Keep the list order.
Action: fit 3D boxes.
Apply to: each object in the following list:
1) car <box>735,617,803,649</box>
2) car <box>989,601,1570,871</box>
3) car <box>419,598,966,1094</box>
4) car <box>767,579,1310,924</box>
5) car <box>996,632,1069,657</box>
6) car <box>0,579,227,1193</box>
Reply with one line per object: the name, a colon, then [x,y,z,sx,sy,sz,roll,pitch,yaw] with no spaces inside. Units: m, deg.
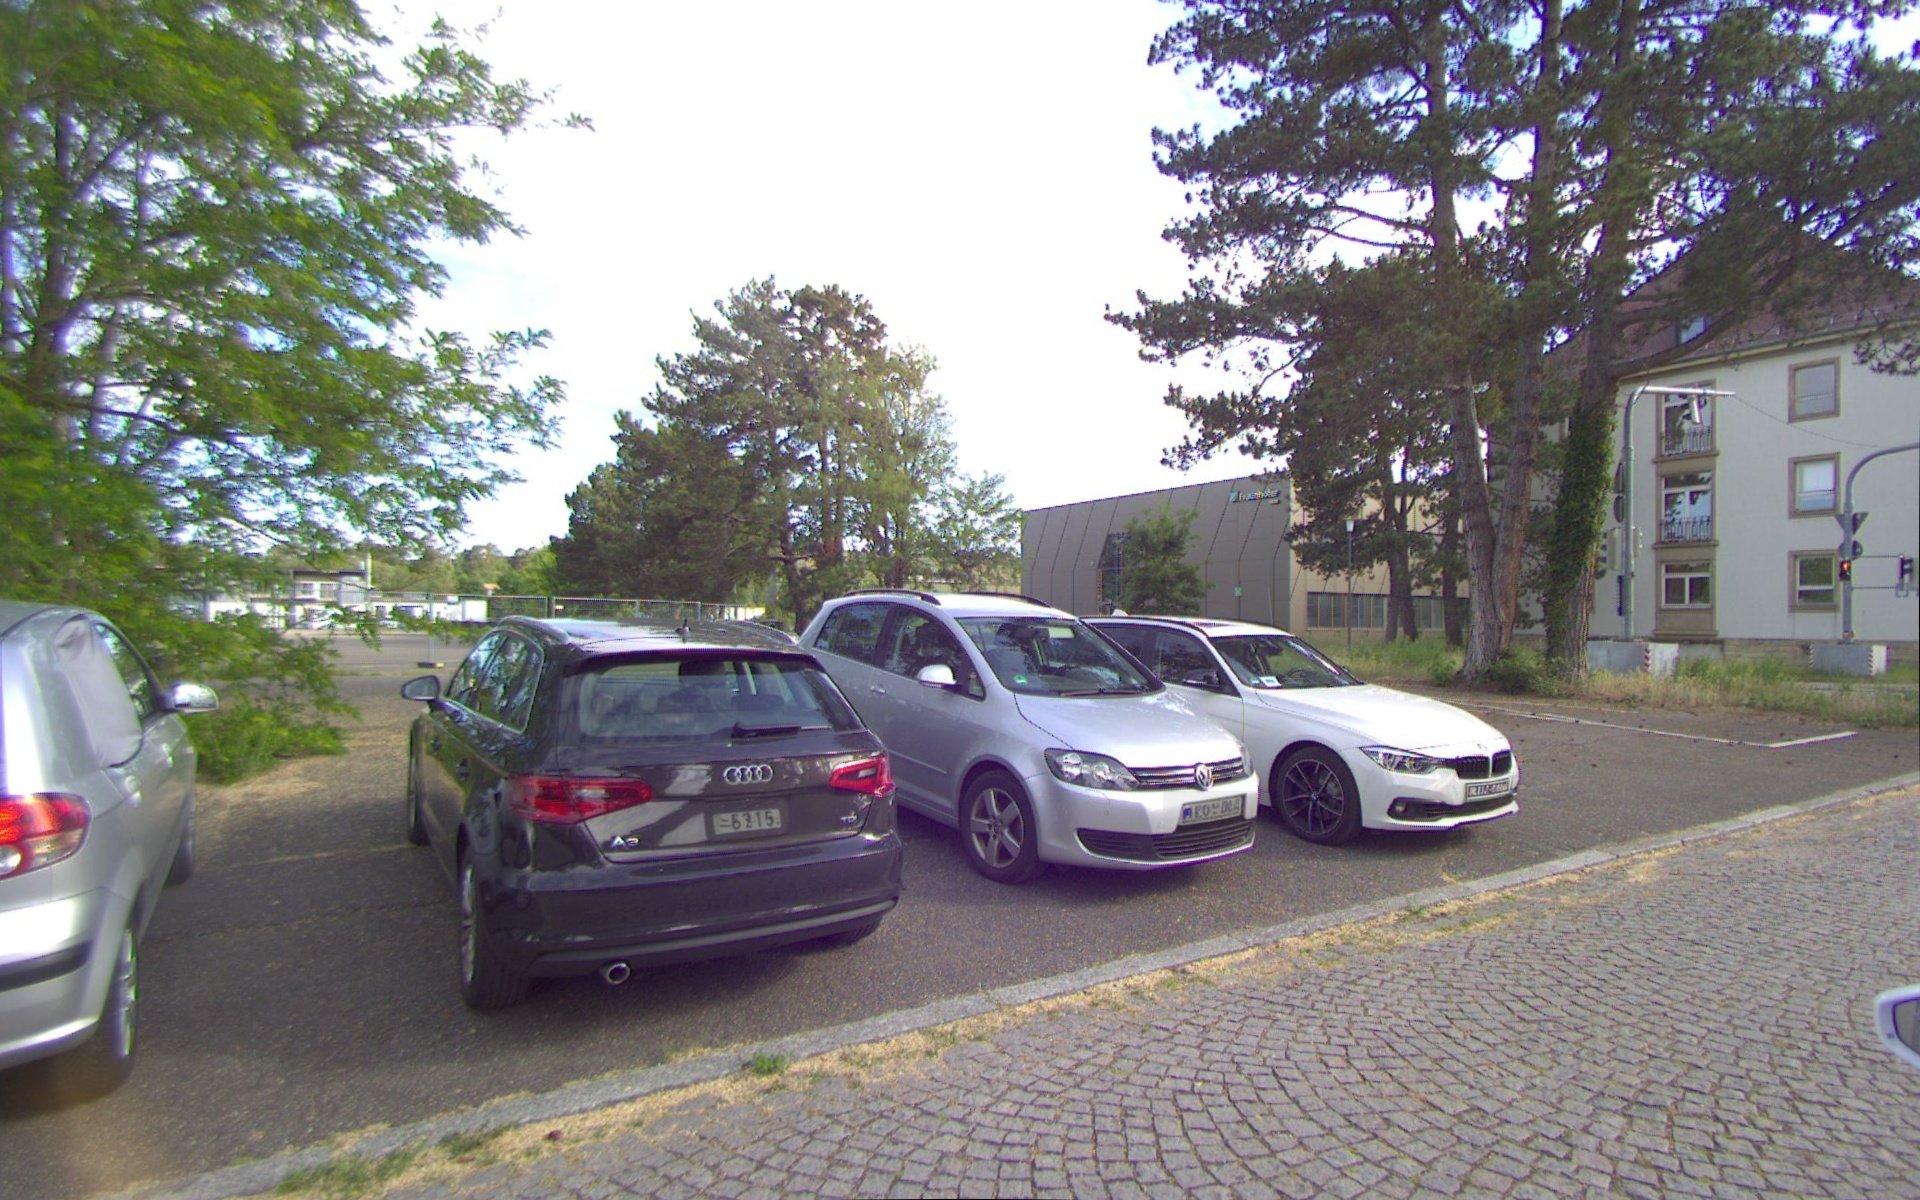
car: [-8.622,1.462,45.248,1.576,1.355,3.704,1,-1,-36]
car: [2.301,0.844,8.437,1.812,1.461,4.448,1,2,-35]
car: [-1.703,0.781,5.197,1.677,1.427,3.814,1,1,-32]
car: [0.245,0.716,6.925,1.718,1.629,3.807,1,1,-34]
car: [4.318,2.622,59.758,4.081,1.433,1.751,1,-1,-29]
car: [-3.860,0.706,3.750,1.630,1.495,3.554,1,1,-34]
